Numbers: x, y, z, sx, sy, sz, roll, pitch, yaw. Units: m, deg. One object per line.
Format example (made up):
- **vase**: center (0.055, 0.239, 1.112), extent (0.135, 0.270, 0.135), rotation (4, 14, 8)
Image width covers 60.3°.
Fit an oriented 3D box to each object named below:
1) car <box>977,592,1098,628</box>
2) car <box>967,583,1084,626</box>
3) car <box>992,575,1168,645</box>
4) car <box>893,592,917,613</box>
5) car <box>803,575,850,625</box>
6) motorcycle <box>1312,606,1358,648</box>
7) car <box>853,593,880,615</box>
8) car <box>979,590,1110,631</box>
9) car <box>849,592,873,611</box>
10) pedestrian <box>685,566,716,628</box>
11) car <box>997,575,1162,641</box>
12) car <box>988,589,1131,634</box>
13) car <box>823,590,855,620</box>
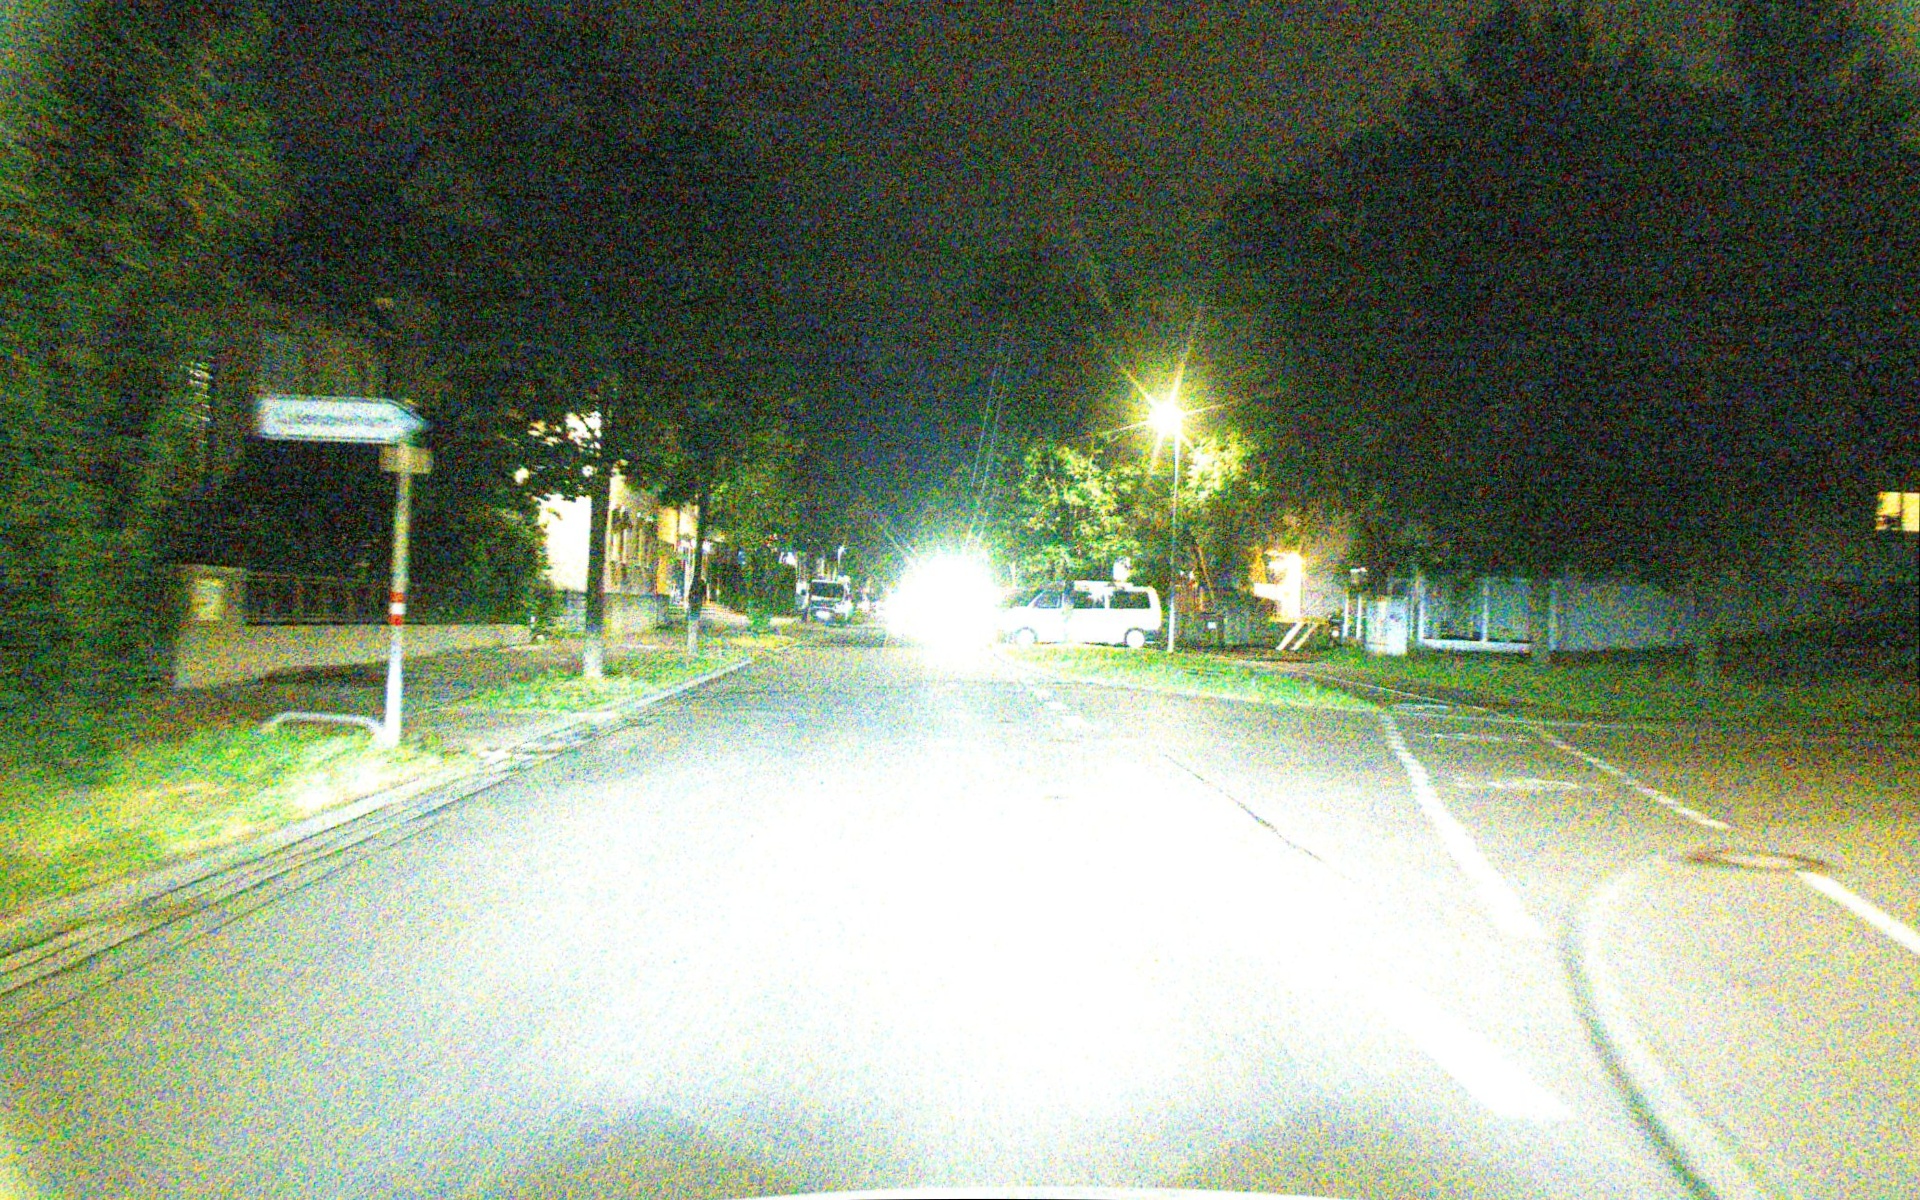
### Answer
- **car**: center (3.315, 0.422, 71.771), extent (5.078, 1.495, 2.101), rotation (0, 0, -3)
- **car**: center (2.965, 0.193, 74.403), extent (5.072, 1.920, 2.103), rotation (0, 0, 8)
- **car**: center (3.558, 0.283, 49.669), extent (5.078, 2.049, 2.101), rotation (0, 0, -3)
- **car**: center (-4.503, 0.186, 135.543), extent (1.888, 1.677, 3.819), rotation (1, 0, -2)
- **car**: center (-5.840, -0.016, 72.957), extent (1.788, 2.021, 4.463), rotation (3, 0, -2)
- **motorcycle**: center (12.682, 0.894, 55.910), extent (1.048, 1.350, 2.706), rotation (2, 1, 22)
- **car**: center (-5.984, 0.232, 106.365), extent (1.649, 1.354, 3.598), rotation (2, 0, -2)
- **car**: center (3.342, 0.402, 66.256), extent (5.078, 1.622, 2.101), rotation (0, 0, -3)
- **car**: center (-7.259, 0.118, 121.853), extent (1.649, 1.354, 3.598), rotation (2, 0, -2)
- **pedestrian**: center (-8.778, -0.109, 56.031), extent (0.769, 2.048, 1.204), rotation (3, 0, -1)
- **car**: center (3.763, 0.241, 52.793), extent (5.078, 2.049, 2.101), rotation (0, 0, -3)
- **car**: center (3.621, 0.417, 60.770), extent (5.078, 1.622, 2.101), rotation (0, 0, -3)
- **car**: center (-6.203, 0.249, 85.183), extent (1.503, 1.476, 3.118), rotation (2, 0, -2)
